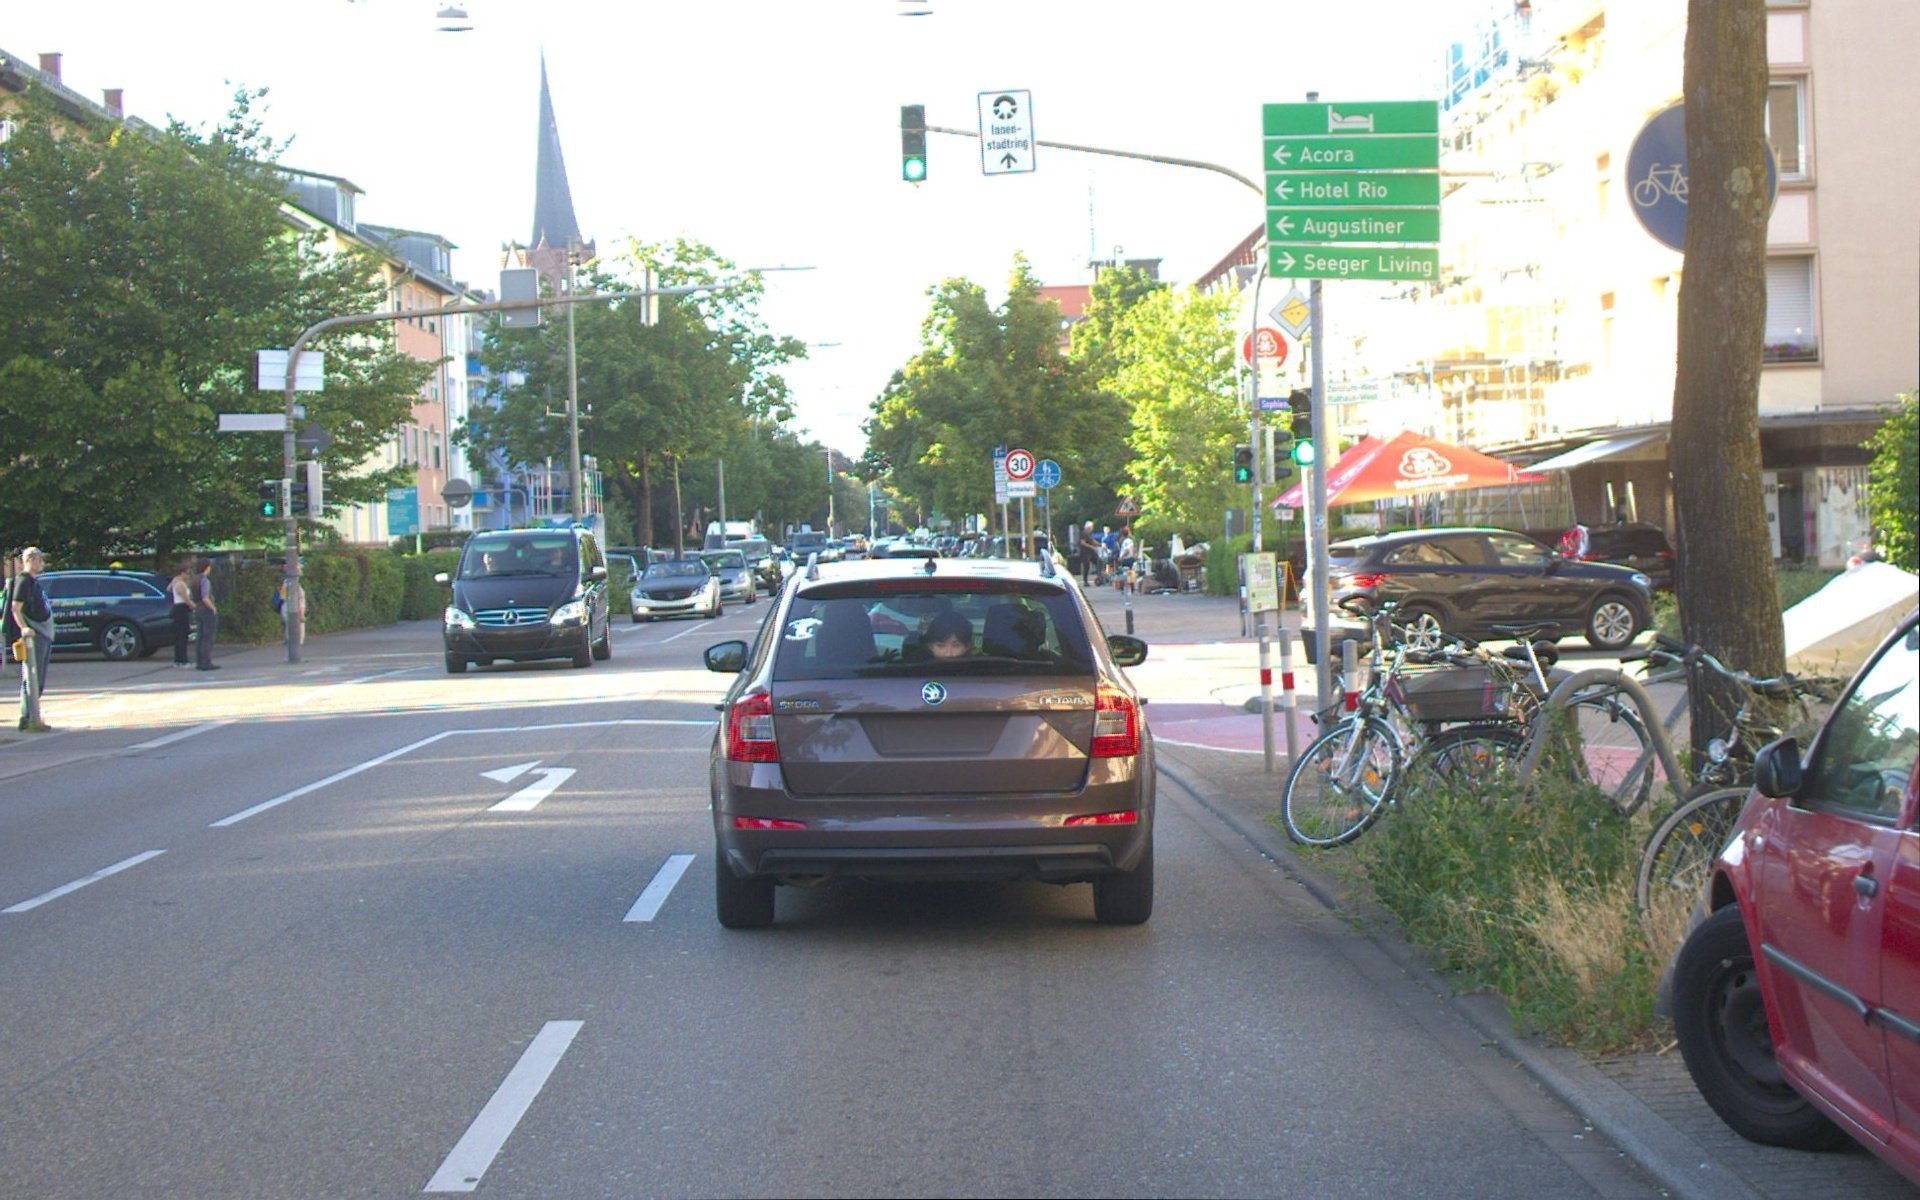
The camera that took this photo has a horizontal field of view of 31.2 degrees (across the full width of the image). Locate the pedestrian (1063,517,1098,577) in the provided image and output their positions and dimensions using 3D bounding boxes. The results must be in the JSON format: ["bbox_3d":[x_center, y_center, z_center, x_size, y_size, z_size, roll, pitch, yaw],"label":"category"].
[{"bbox_3d":[3.454,-1.523,98.461,0.675,1.698,0.800,-1,1,26],"label":"pedestrian"}]

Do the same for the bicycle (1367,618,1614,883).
[{"bbox_3d":[2.343,0.631,15.040,0.619,1.048,1.571,-1,1,26],"label":"bicycle"}]

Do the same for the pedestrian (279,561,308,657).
[{"bbox_3d":[-10.562,0.143,54.478,0.301,1.499,0.640,-2,1,0],"label":"pedestrian"}]

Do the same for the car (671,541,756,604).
[{"bbox_3d":[-6.680,-0.767,93.579,1.993,1.605,4.000,-2,1,0],"label":"car"}]

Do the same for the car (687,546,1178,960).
[{"bbox_3d":[-0.151,0.521,14.623,1.773,1.484,4.311,0,1,-1],"label":"car"}]

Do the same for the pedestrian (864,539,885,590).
[{"bbox_3d":[-2.791,-1.157,112.369,0.645,1.641,0.805,-2,1,-1],"label":"pedestrian"}]

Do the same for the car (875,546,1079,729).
[{"bbox_3d":[0.142,0.288,31.523,1.737,1.565,4.000,0,1,0],"label":"car"}]

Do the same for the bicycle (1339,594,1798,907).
[{"bbox_3d":[2.387,0.588,13.613,1.687,1.104,0.517,-4,1,6],"label":"bicycle"}]

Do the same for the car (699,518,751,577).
[{"bbox_3d":[-10.151,-2.283,148.823,1.993,2.469,4.000,-2,1,-1],"label":"car"}]

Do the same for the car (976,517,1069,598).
[{"bbox_3d":[1.422,-0.953,76.579,1.993,1.766,4.000,0,1,2],"label":"car"}]

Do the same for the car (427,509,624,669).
[{"bbox_3d":[-5.722,-0.178,45.881,1.993,1.902,4.964,-4,1,-1],"label":"car"}]

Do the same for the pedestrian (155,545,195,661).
[{"bbox_3d":[-12.244,0.038,53.633,0.449,1.791,0.504,-2,1,0],"label":"pedestrian"}]

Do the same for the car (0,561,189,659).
[{"bbox_3d":[-15.113,0.165,56.156,4.634,1.530,1.862,-1,1,-1],"label":"car"}]

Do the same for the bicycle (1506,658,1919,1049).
[{"bbox_3d":[2.460,0.743,10.271,1.570,1.100,0.392,-2,1,0],"label":"bicycle"}]

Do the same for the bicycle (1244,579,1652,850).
[{"bbox_3d":[2.331,0.541,16.572,1.835,1.153,0.683,-4,1,6],"label":"bicycle"}]

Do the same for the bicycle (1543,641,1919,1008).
[{"bbox_3d":[2.701,0.698,10.970,1.570,1.100,0.501,-2,1,0],"label":"bicycle"}]

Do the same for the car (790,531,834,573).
[{"bbox_3d":[-7.286,-2.381,169.338,1.993,2.007,4.000,-2,1,-1],"label":"car"}]

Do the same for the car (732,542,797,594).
[{"bbox_3d":[-6.063,-1.006,106.763,1.787,1.565,4.000,0,1,0],"label":"car"}]

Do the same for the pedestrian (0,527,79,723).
[{"bbox_3d":[-9.616,0.249,35.443,0.780,1.981,0.821,-2,1,0],"label":"pedestrian"}]

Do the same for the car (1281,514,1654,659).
[{"bbox_3d":[6.001,-0.177,40.631,3.986,1.546,1.806,-2,1,-26],"label":"car"}]

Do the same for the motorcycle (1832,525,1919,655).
[{"bbox_3d":[10.380,-0.127,36.789,1.914,1.357,0.694,-2,1,4],"label":"motorcycle"}]

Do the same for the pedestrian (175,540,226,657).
[{"bbox_3d":[-11.748,-0.030,53.181,0.616,1.791,0.504,-2,1,0],"label":"pedestrian"}]

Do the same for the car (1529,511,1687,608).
[{"bbox_3d":[10.581,-0.674,56.375,1.776,1.481,4.000,-2,1,0],"label":"car"}]

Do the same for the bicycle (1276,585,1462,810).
[{"bbox_3d":[2.235,0.505,18.991,0.501,1.143,1.959,-4,1,-7],"label":"bicycle"}]

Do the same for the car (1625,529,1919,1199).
[{"bbox_3d":[2.577,0.568,6.933,1.703,1.445,4.013,-3,1,1],"label":"car"}]

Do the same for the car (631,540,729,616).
[{"bbox_3d":[-6.149,-0.512,75.828,1.830,1.574,4.000,-2,1,-1],"label":"car"}]

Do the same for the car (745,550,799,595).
[{"bbox_3d":[-6.744,-1.004,123.458,1.704,1.545,4.002,-2,1,-1],"label":"car"}]
